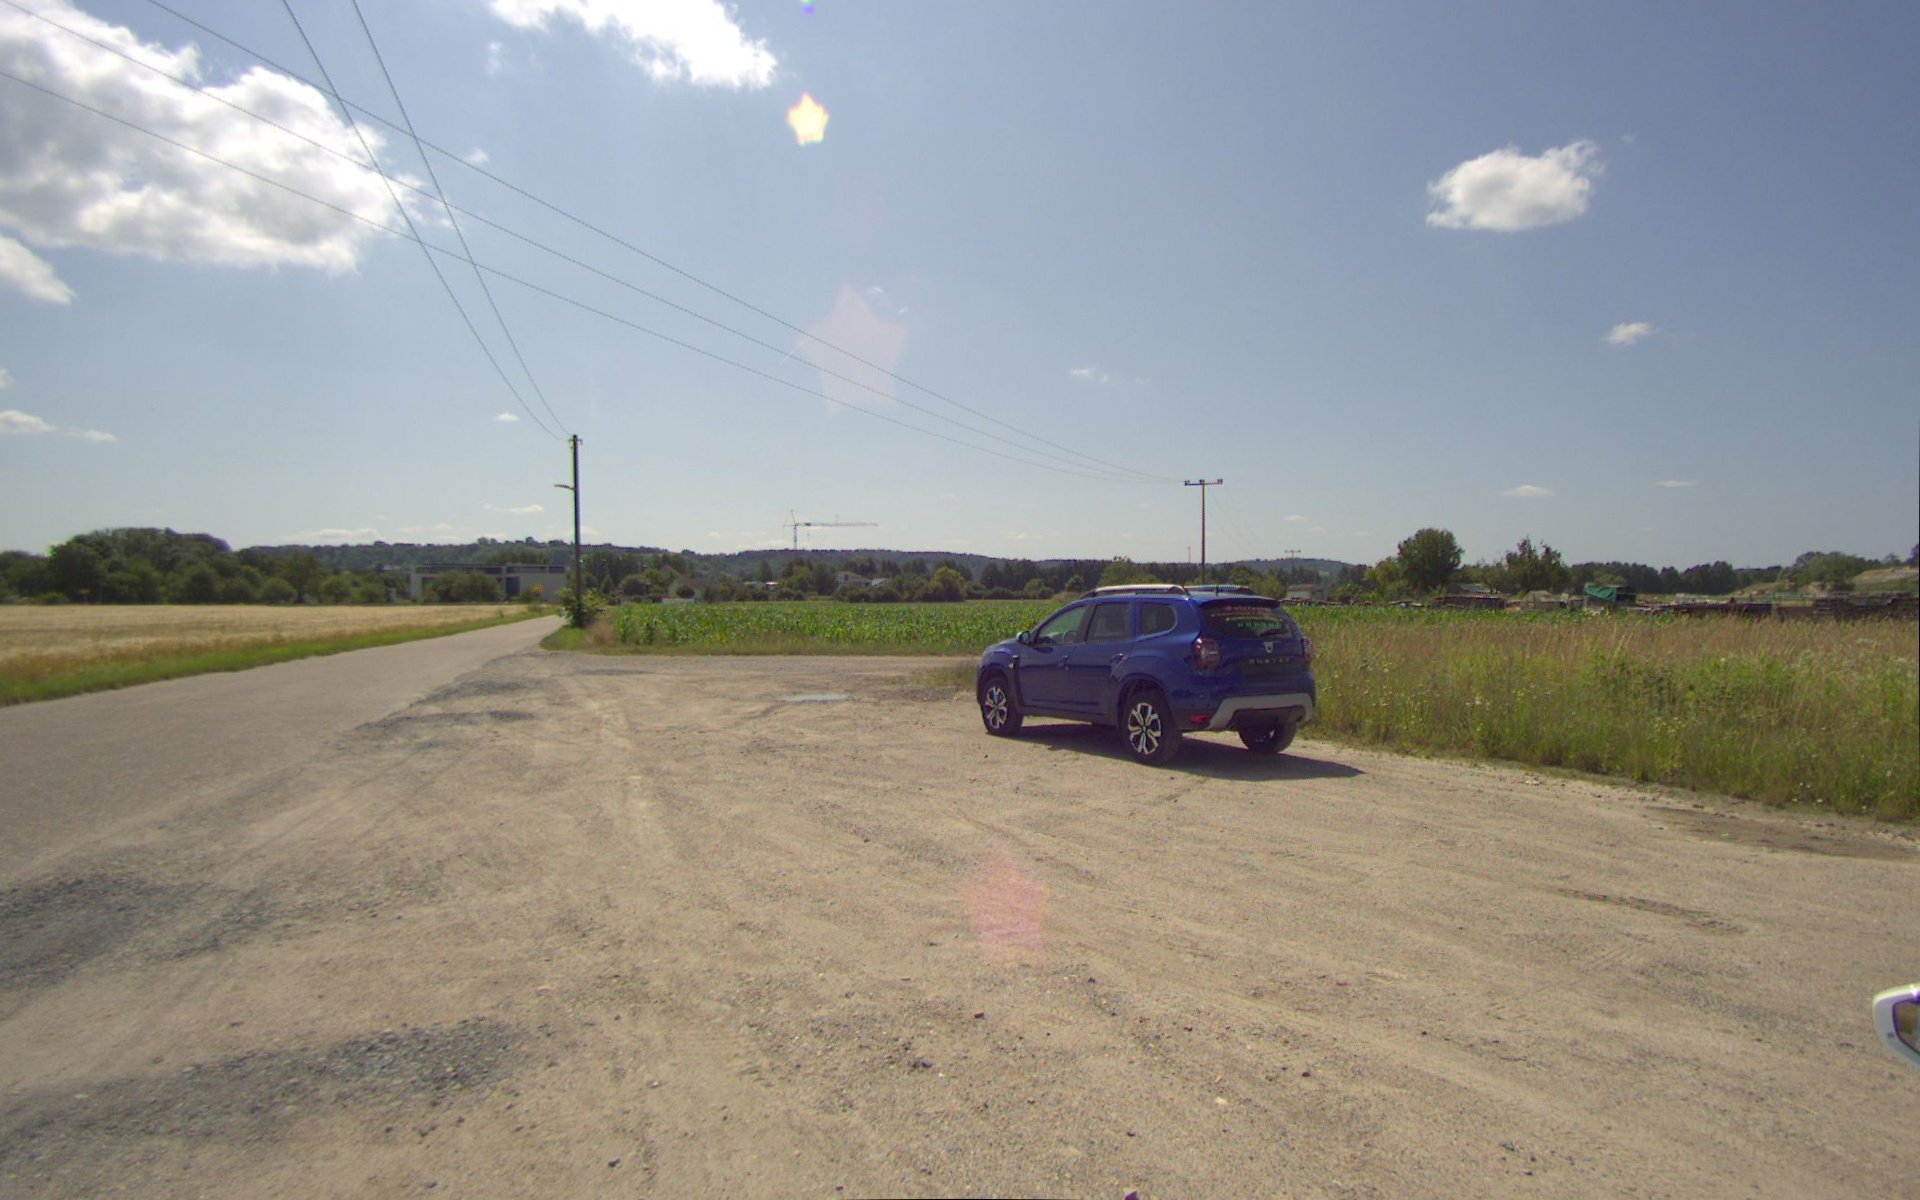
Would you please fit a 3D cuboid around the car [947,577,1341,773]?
[{"bbox_3d":[1.732,0.681,10.993,1.843,1.683,4.423,0,-1,-30],"label":"car"}]
